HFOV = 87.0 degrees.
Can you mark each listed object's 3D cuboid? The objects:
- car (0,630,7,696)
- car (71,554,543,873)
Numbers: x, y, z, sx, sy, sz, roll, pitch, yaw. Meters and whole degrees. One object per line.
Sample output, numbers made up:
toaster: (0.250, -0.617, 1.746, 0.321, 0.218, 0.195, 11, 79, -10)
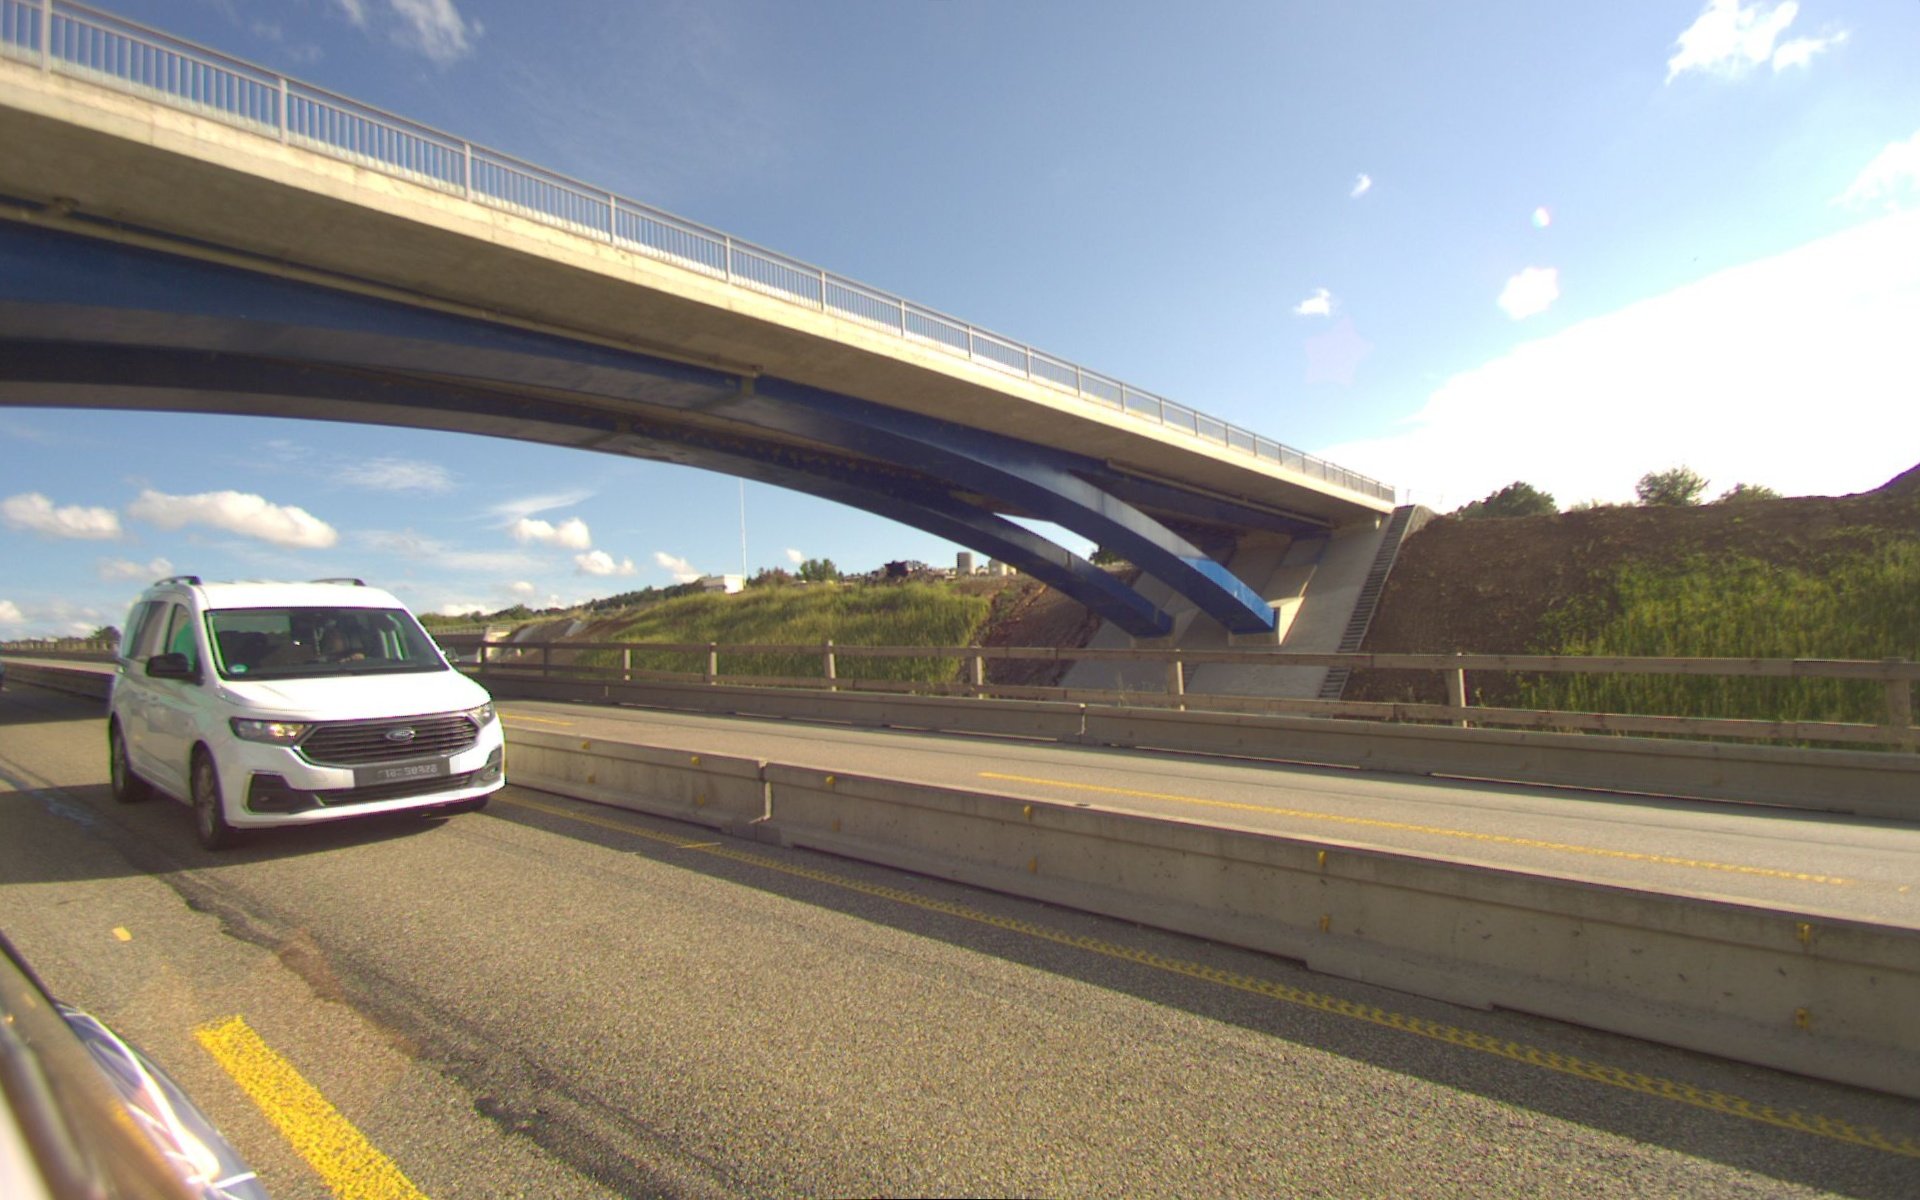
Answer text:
car: (-24.116, 1.492, 24.087, 3.998, 1.519, 1.697, -2, -1, 41)
car: (-5.293, 0.707, 7.946, 4.451, 1.837, 1.805, -2, -1, 39)
